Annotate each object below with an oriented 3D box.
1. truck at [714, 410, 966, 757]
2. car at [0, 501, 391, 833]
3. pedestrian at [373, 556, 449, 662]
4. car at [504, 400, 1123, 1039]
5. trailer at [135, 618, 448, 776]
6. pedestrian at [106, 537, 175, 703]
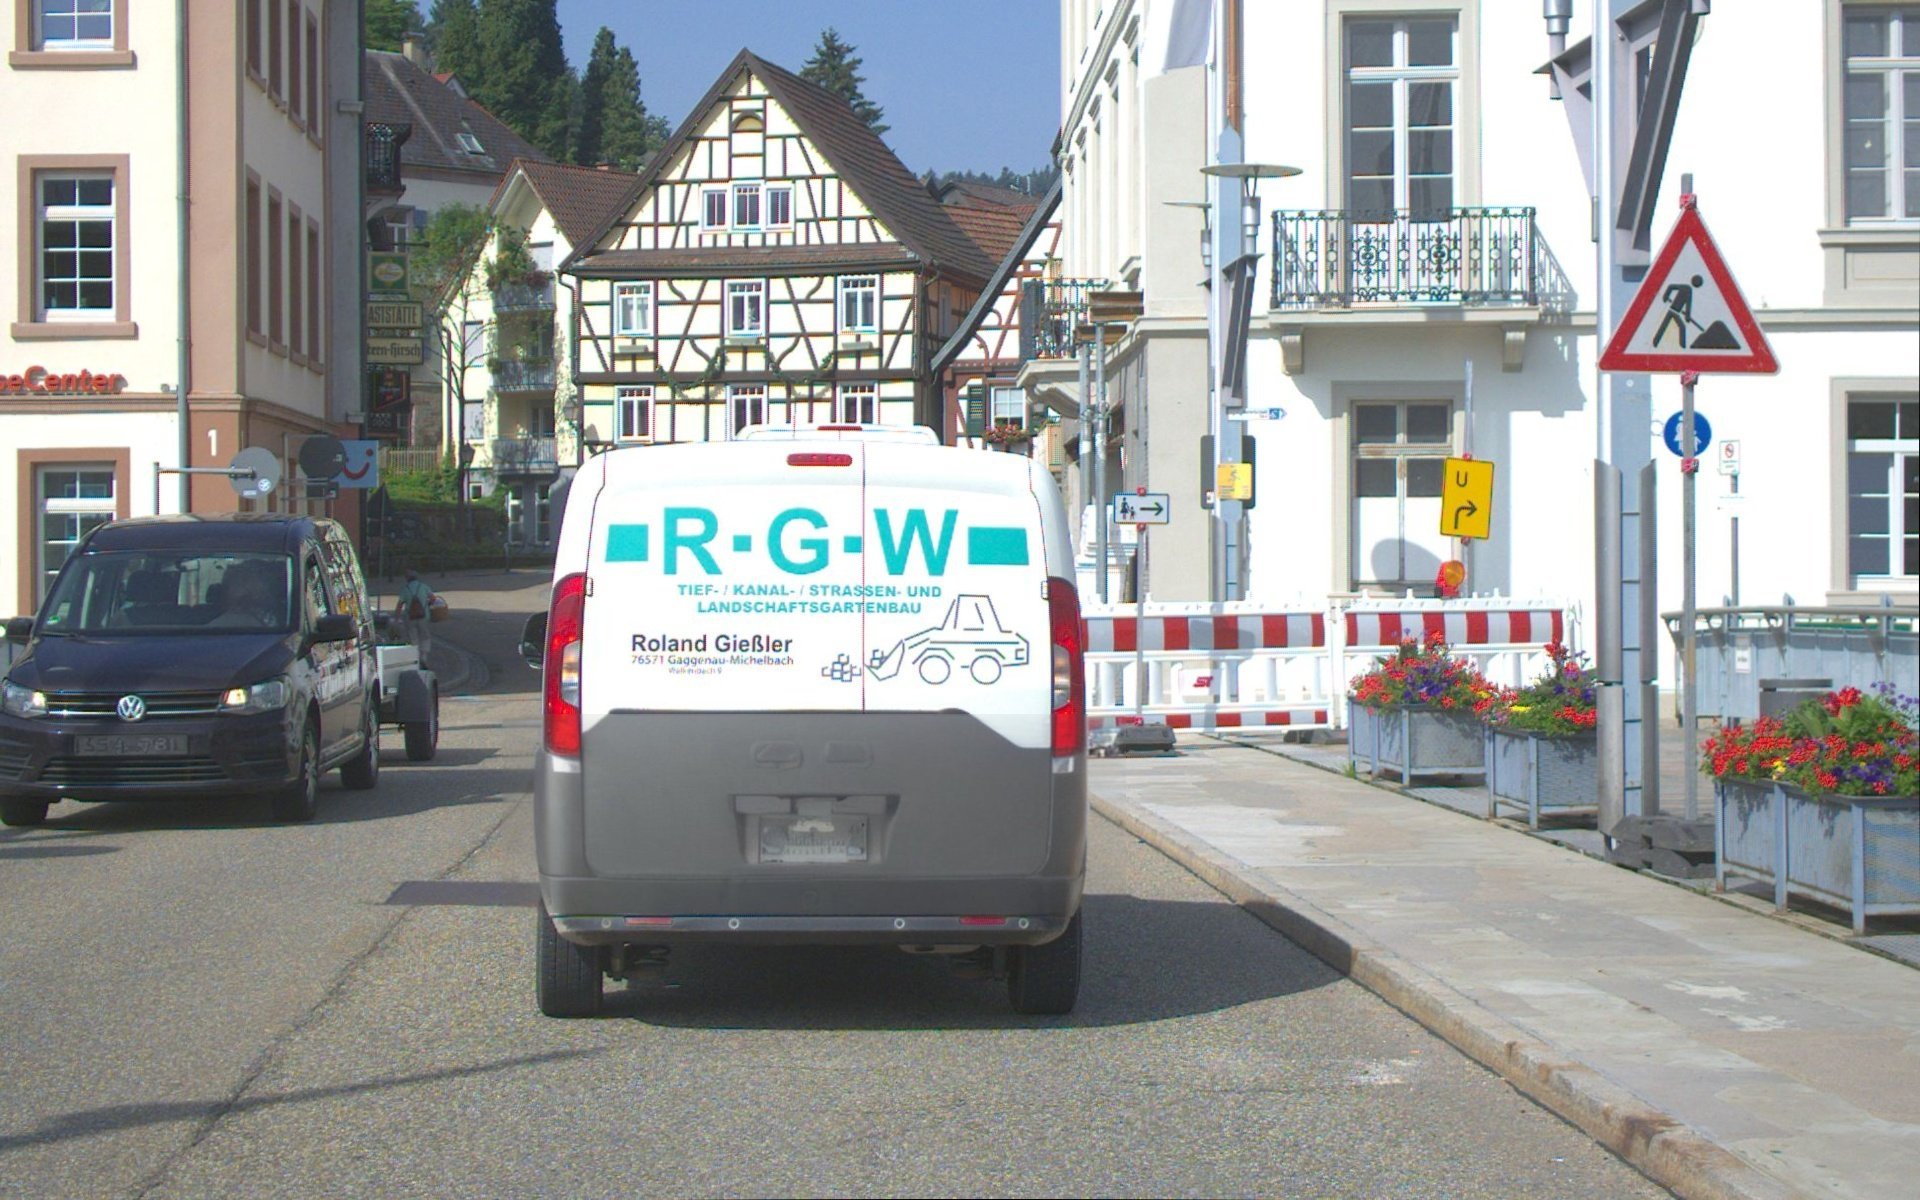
[{"bbox_3d":[-1.043,-0.149,27.800,1.861,2.576,4.261,0,1,-4],"label":"truck"},{"bbox_3d":[-4.617,0.304,20.951,1.776,1.786,4.698,1,1,-3],"label":"car"},{"bbox_3d":[-8.635,0.141,54.096,1.073,1.641,0.686,0,1,-1],"label":"pedestrian"},{"bbox_3d":[-0.674,0.337,12.459,1.844,1.899,4.316,0,1,-6],"label":"car"},{"bbox_3d":[-4.847,0.669,25.426,1.750,1.019,4.186,-1,0,-4],"label":"trailer"},{"bbox_3d":[-8.062,0.192,33.838,0.583,1.604,0.537,1,1,-5],"label":"pedestrian"}]
